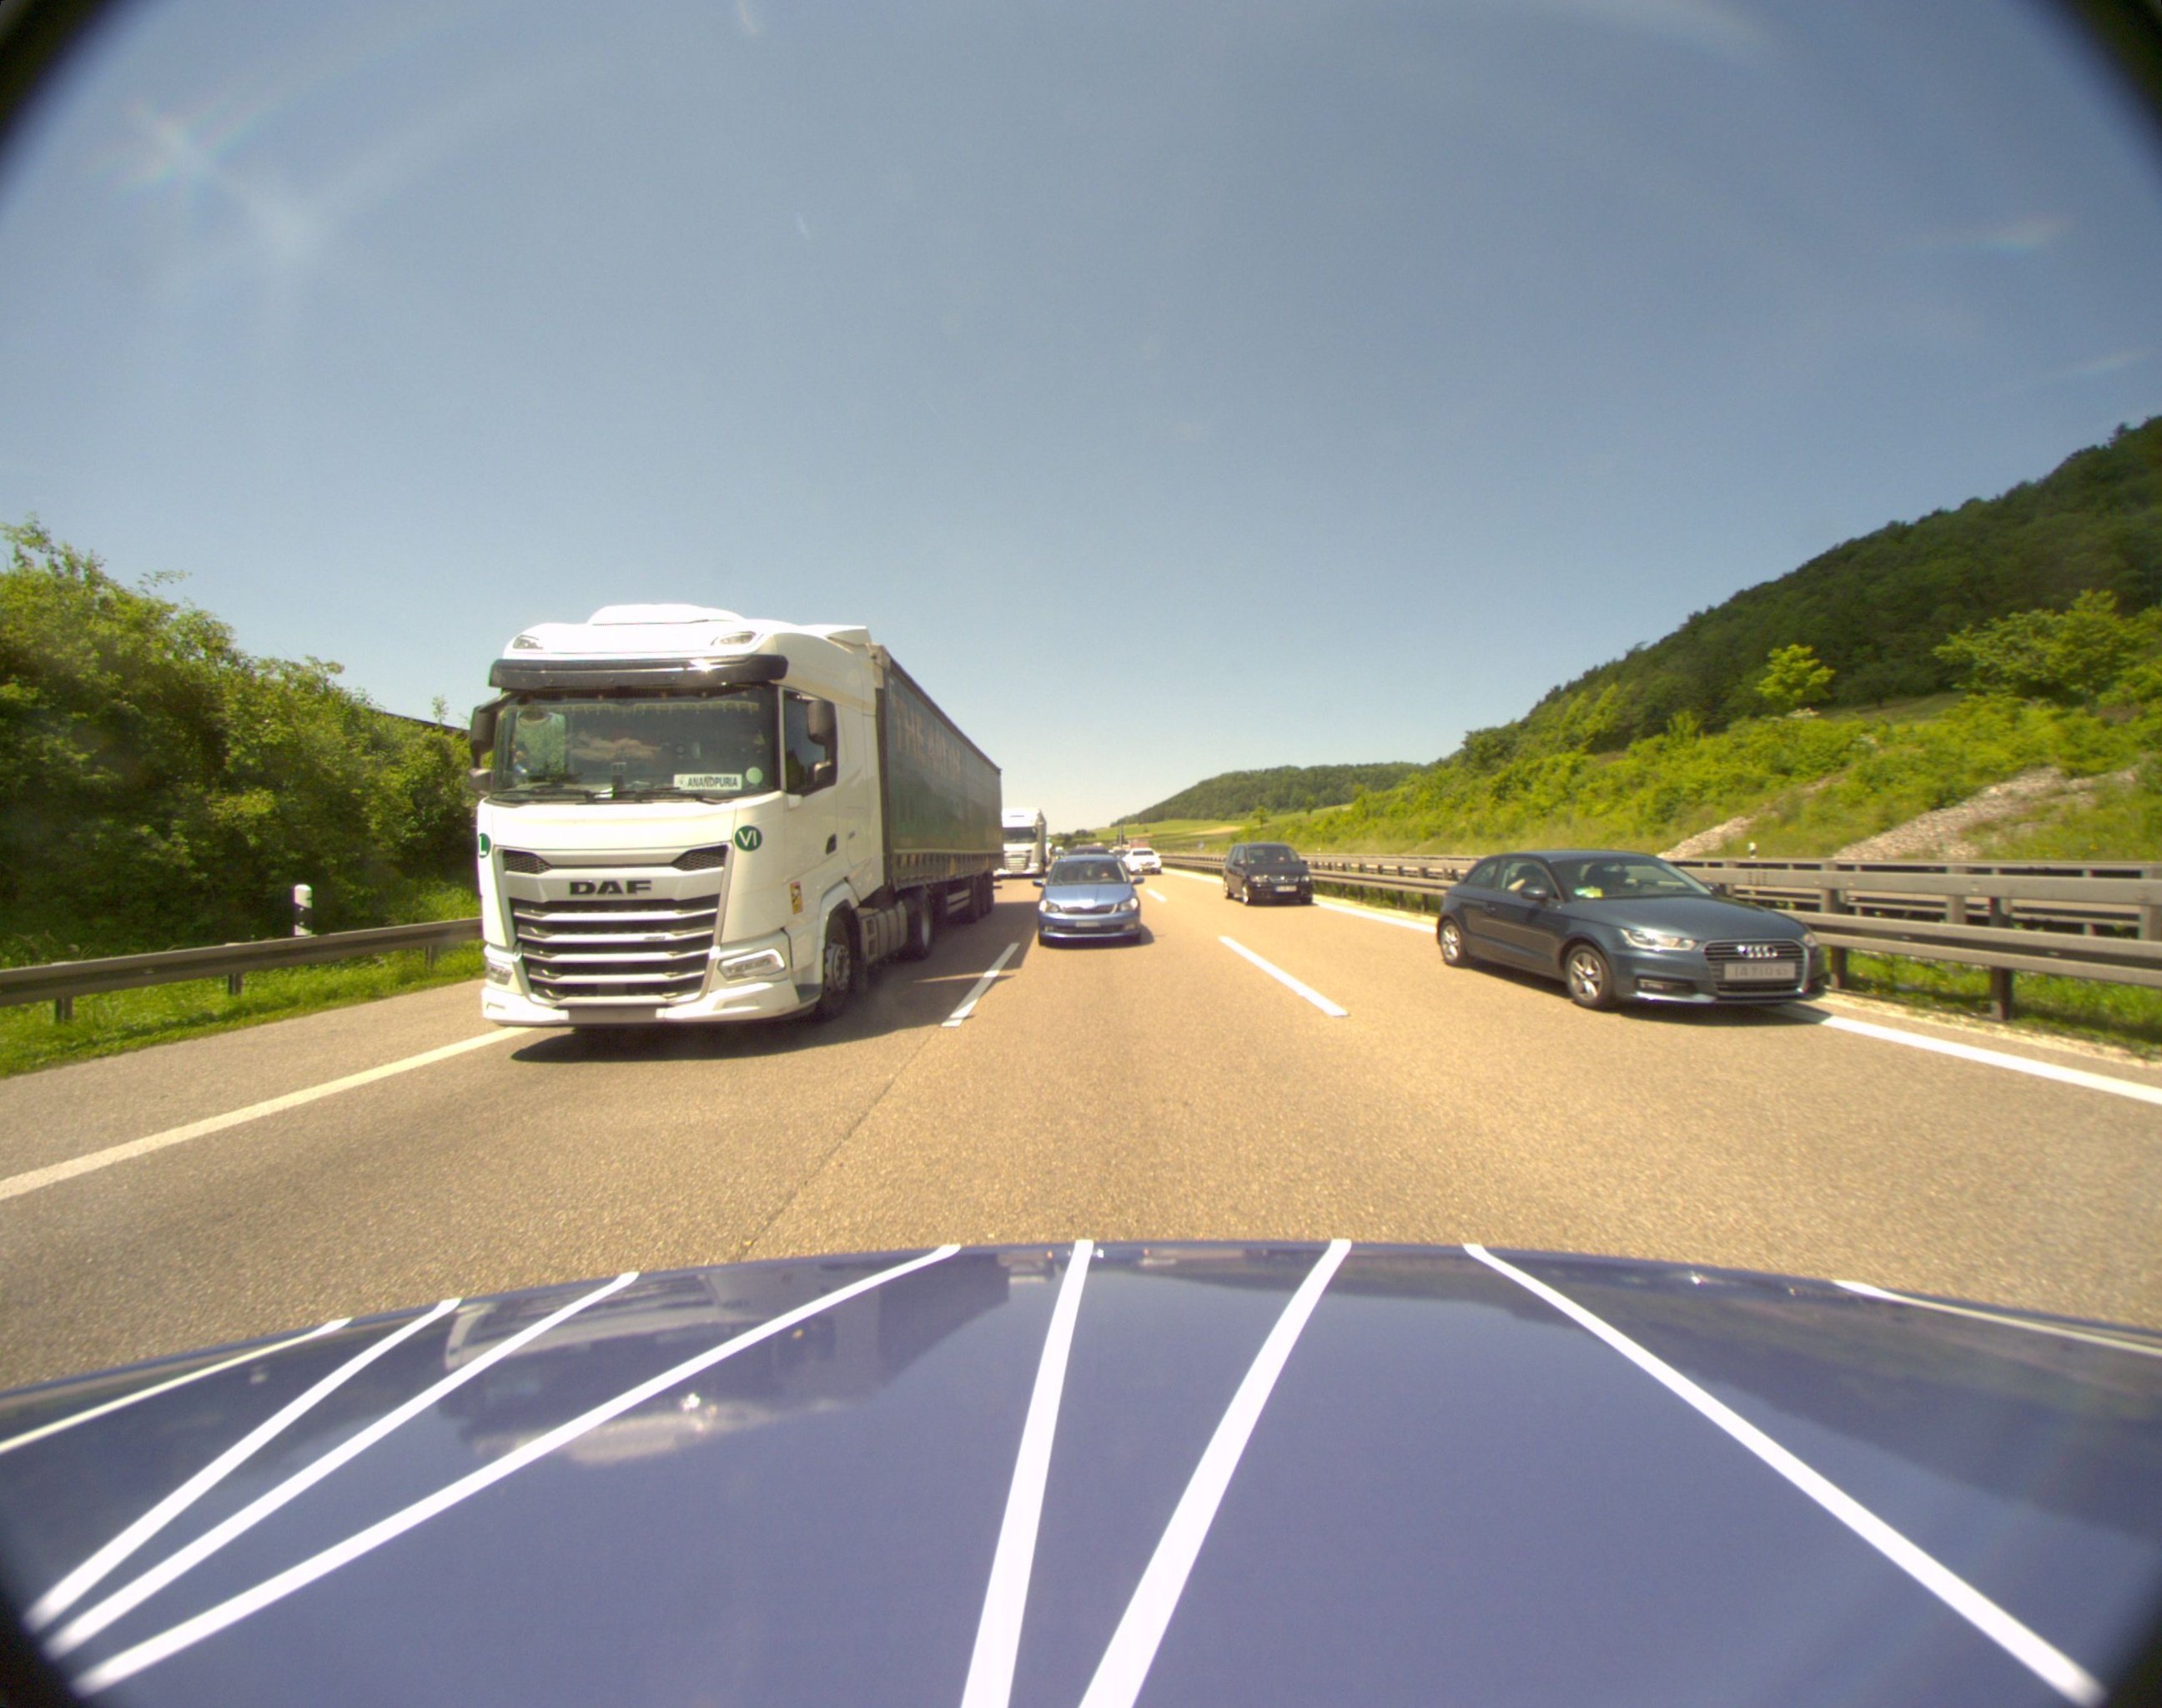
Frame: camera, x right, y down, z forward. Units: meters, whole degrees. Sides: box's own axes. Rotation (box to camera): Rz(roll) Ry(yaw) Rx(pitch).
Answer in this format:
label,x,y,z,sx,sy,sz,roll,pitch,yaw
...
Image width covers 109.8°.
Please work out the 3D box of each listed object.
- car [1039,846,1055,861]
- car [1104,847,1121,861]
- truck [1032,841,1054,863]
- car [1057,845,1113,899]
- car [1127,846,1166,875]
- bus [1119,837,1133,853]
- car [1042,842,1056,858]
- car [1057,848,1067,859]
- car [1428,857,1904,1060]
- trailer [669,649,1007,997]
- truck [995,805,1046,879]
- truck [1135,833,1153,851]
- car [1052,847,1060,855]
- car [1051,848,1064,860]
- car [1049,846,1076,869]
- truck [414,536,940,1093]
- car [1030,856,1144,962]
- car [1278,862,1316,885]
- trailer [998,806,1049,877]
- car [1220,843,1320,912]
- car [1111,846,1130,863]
label,x,y,z,sx,sy,sz,roll,pitch,yaw
car,-4.240,-0.083,96.198,1.778,1.655,3.999,-2,1,0
car,4.056,-0.021,97.594,1.998,1.702,4.000,-2,1,4
truck,-4.199,-0.260,85.114,1.835,2.268,6.594,0,1,2
car,0.226,0.554,26.185,1.736,1.674,4.198,-1,1,3
car,3.931,0.351,46.260,1.999,1.612,3.999,-2,1,0
bus,10.877,-2.194,186.557,2.686,3.640,14.815,-1,1,1
car,-4.624,-0.574,110.449,1.778,2.178,3.999,-2,1,0
car,-3.913,-0.106,157.924,1.998,2.002,3.999,-2,1,0
car,5.130,0.772,7.483,1.692,1.380,4.000,-1,1,2
trailer,-3.457,-0.419,15.584,2.484,3.954,13.653,-1,1,0
truck,-3.528,-0.749,45.777,2.531,4.065,6.078,-2,1,-1
truck,15.073,-2.816,182.684,3.626,4.079,9.921,-1,1,1
car,-6.648,-0.871,202.369,1.998,2.002,3.999,-2,1,0
car,-4.121,-0.007,131.408,1.998,2.002,3.999,-2,1,0
car,-1.457,0.267,61.190,1.998,1.702,3.999,-2,1,0
truck,-3.483,-0.305,8.662,2.484,3.954,6.380,-1,1,0
car,0.120,0.825,13.575,1.660,1.481,4.653,-1,1,1
car,18.219,1.598,64.279,1.998,1.702,3.999,-2,1,0
trailer,-3.686,-0.860,51.818,2.544,4.085,13.624,-2,1,-1
car,4.989,0.549,20.631,1.805,1.625,4.446,-1,1,3
car,4.305,0.067,82.163,1.998,1.702,4.000,-2,1,4
